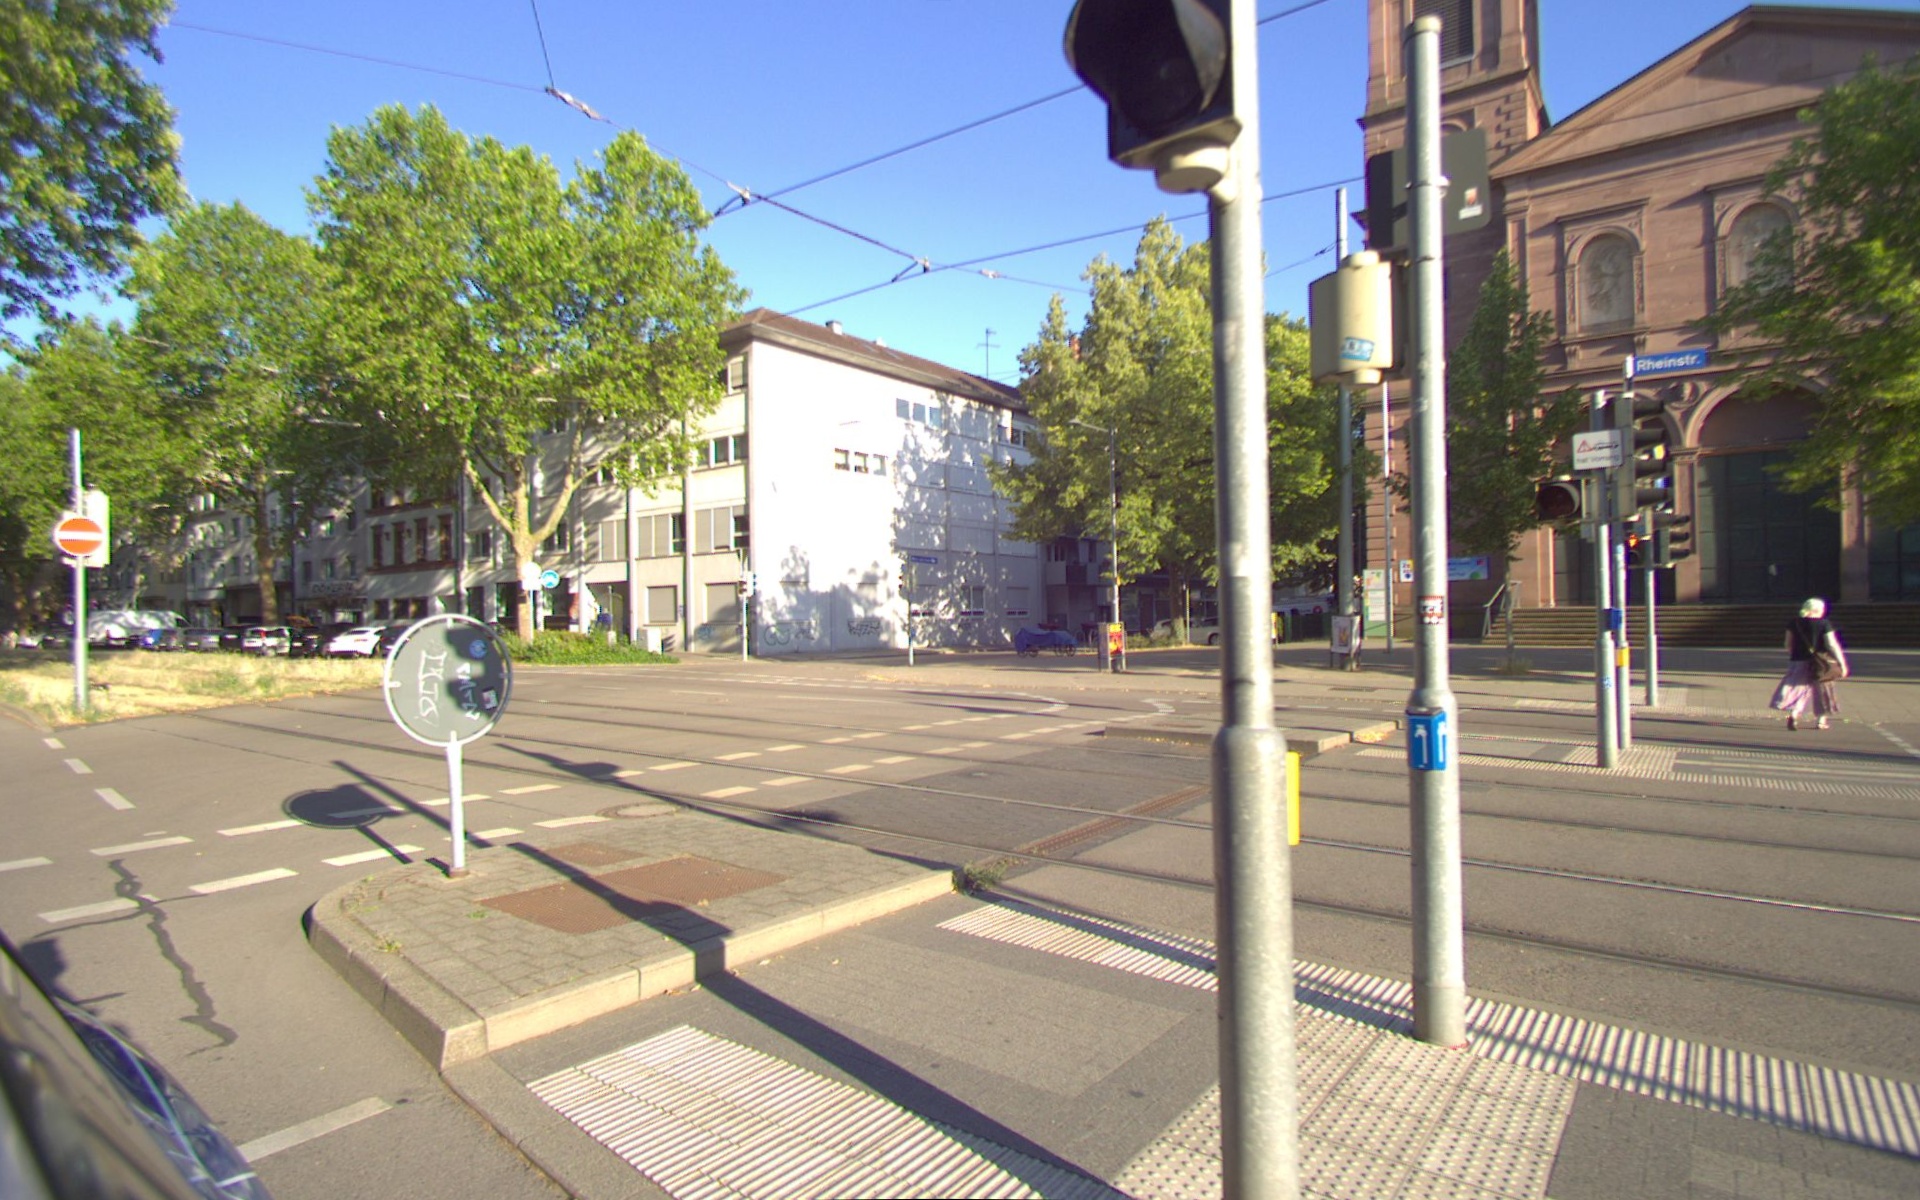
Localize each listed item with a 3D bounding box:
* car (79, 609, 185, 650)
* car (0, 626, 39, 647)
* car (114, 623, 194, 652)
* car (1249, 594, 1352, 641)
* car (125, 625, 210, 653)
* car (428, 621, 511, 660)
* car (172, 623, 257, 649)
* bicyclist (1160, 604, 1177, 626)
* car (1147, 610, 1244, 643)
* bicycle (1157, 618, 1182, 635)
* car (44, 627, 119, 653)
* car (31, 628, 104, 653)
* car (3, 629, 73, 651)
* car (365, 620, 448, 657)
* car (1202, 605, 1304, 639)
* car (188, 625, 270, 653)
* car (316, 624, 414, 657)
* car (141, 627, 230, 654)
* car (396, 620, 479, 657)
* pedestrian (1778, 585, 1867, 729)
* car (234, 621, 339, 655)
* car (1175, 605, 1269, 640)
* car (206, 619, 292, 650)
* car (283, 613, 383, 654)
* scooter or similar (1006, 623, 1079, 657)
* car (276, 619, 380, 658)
[{"bbox_3d":[-57.425,1.990,70.372,2.158,2.721,5.589,-1,-1,13],"label":"car"},{"bbox_3d":[-79.809,3.057,84.323,1.994,1.719,4.188,-2,-1,33],"label":"car"},{"bbox_3d":[-54.981,2.528,69.101,1.978,1.829,3.987,-1,-1,10],"label":"car"},{"bbox_3d":[19.124,0.980,57.005,5.107,2.537,1.974,-2,-1,38],"label":"car"},{"bbox_3d":[-50.303,2.444,64.352,1.978,1.630,3.987,-1,-1,10],"label":"car"},{"bbox_3d":[-19.588,1.601,40.594,1.745,1.442,3.975,-1,-1,-5],"label":"car"},{"bbox_3d":[-44.276,2.120,60.209,1.882,1.468,4.255,-1,-1,2],"label":"car"},{"bbox_3d":[12.665,0.893,61.608,0.632,1.341,0.957,-2,-1,38],"label":"bicyclist"},{"bbox_3d":[10.903,1.236,47.058,3.995,1.409,1.794,-3,-2,38],"label":"car"},{"bbox_3d":[12.786,1.623,61.717,0.632,0.988,1.964,-2,-1,38],"label":"bicycle"},{"bbox_3d":[-67.233,3.051,77.499,1.978,1.829,3.987,-1,-1,10],"label":"car"},{"bbox_3d":[-69.921,3.128,79.358,1.978,1.829,3.987,-1,-1,10],"label":"car"},{"bbox_3d":[-76.842,3.321,84.435,1.978,1.719,3.987,-1,-1,10],"label":"car"},{"bbox_3d":[-24.496,1.674,44.951,1.804,1.515,3.975,-1,-1,-5],"label":"car"},{"bbox_3d":[15.270,1.149,52.827,4.702,1.674,1.975,-2,-1,37],"label":"car"},{"bbox_3d":[-41.826,2.201,58.018,1.581,1.470,4.255,-1,-1,1],"label":"car"},{"bbox_3d":[-26.879,1.796,45.902,2.121,1.388,4.260,-1,-1,-3],"label":"car"},{"bbox_3d":[-47.779,2.476,62.508,1.983,1.529,3.977,-1,-1,17],"label":"car"},{"bbox_3d":[-22.003,1.592,42.768,1.716,1.443,3.975,-2,-1,-5],"label":"car"},{"bbox_3d":[11.215,0.707,13.191,0.831,1.773,0.910,-1,1,39],"label":"pedestrian"},{"bbox_3d":[-33.607,1.886,50.618,1.632,1.569,4.226,-1,-1,22],"label":"car"},{"bbox_3d":[12.651,1.088,48.929,3.995,1.630,1.867,-2,-1,38],"label":"car"},{"bbox_3d":[-39.067,1.868,55.739,1.880,1.626,4.259,-1,-1,-2],"label":"car"},{"bbox_3d":[-31.428,1.657,50.875,1.506,1.958,4.226,-1,-1,22],"label":"car"},{"bbox_3d":[3.012,1.480,37.277,2.444,1.135,1.083,-5,-3,38],"label":"scooter or similar"},{"bbox_3d":[-29.677,1.788,47.680,2.124,1.697,4.254,-1,-1,3],"label":"car"}]
